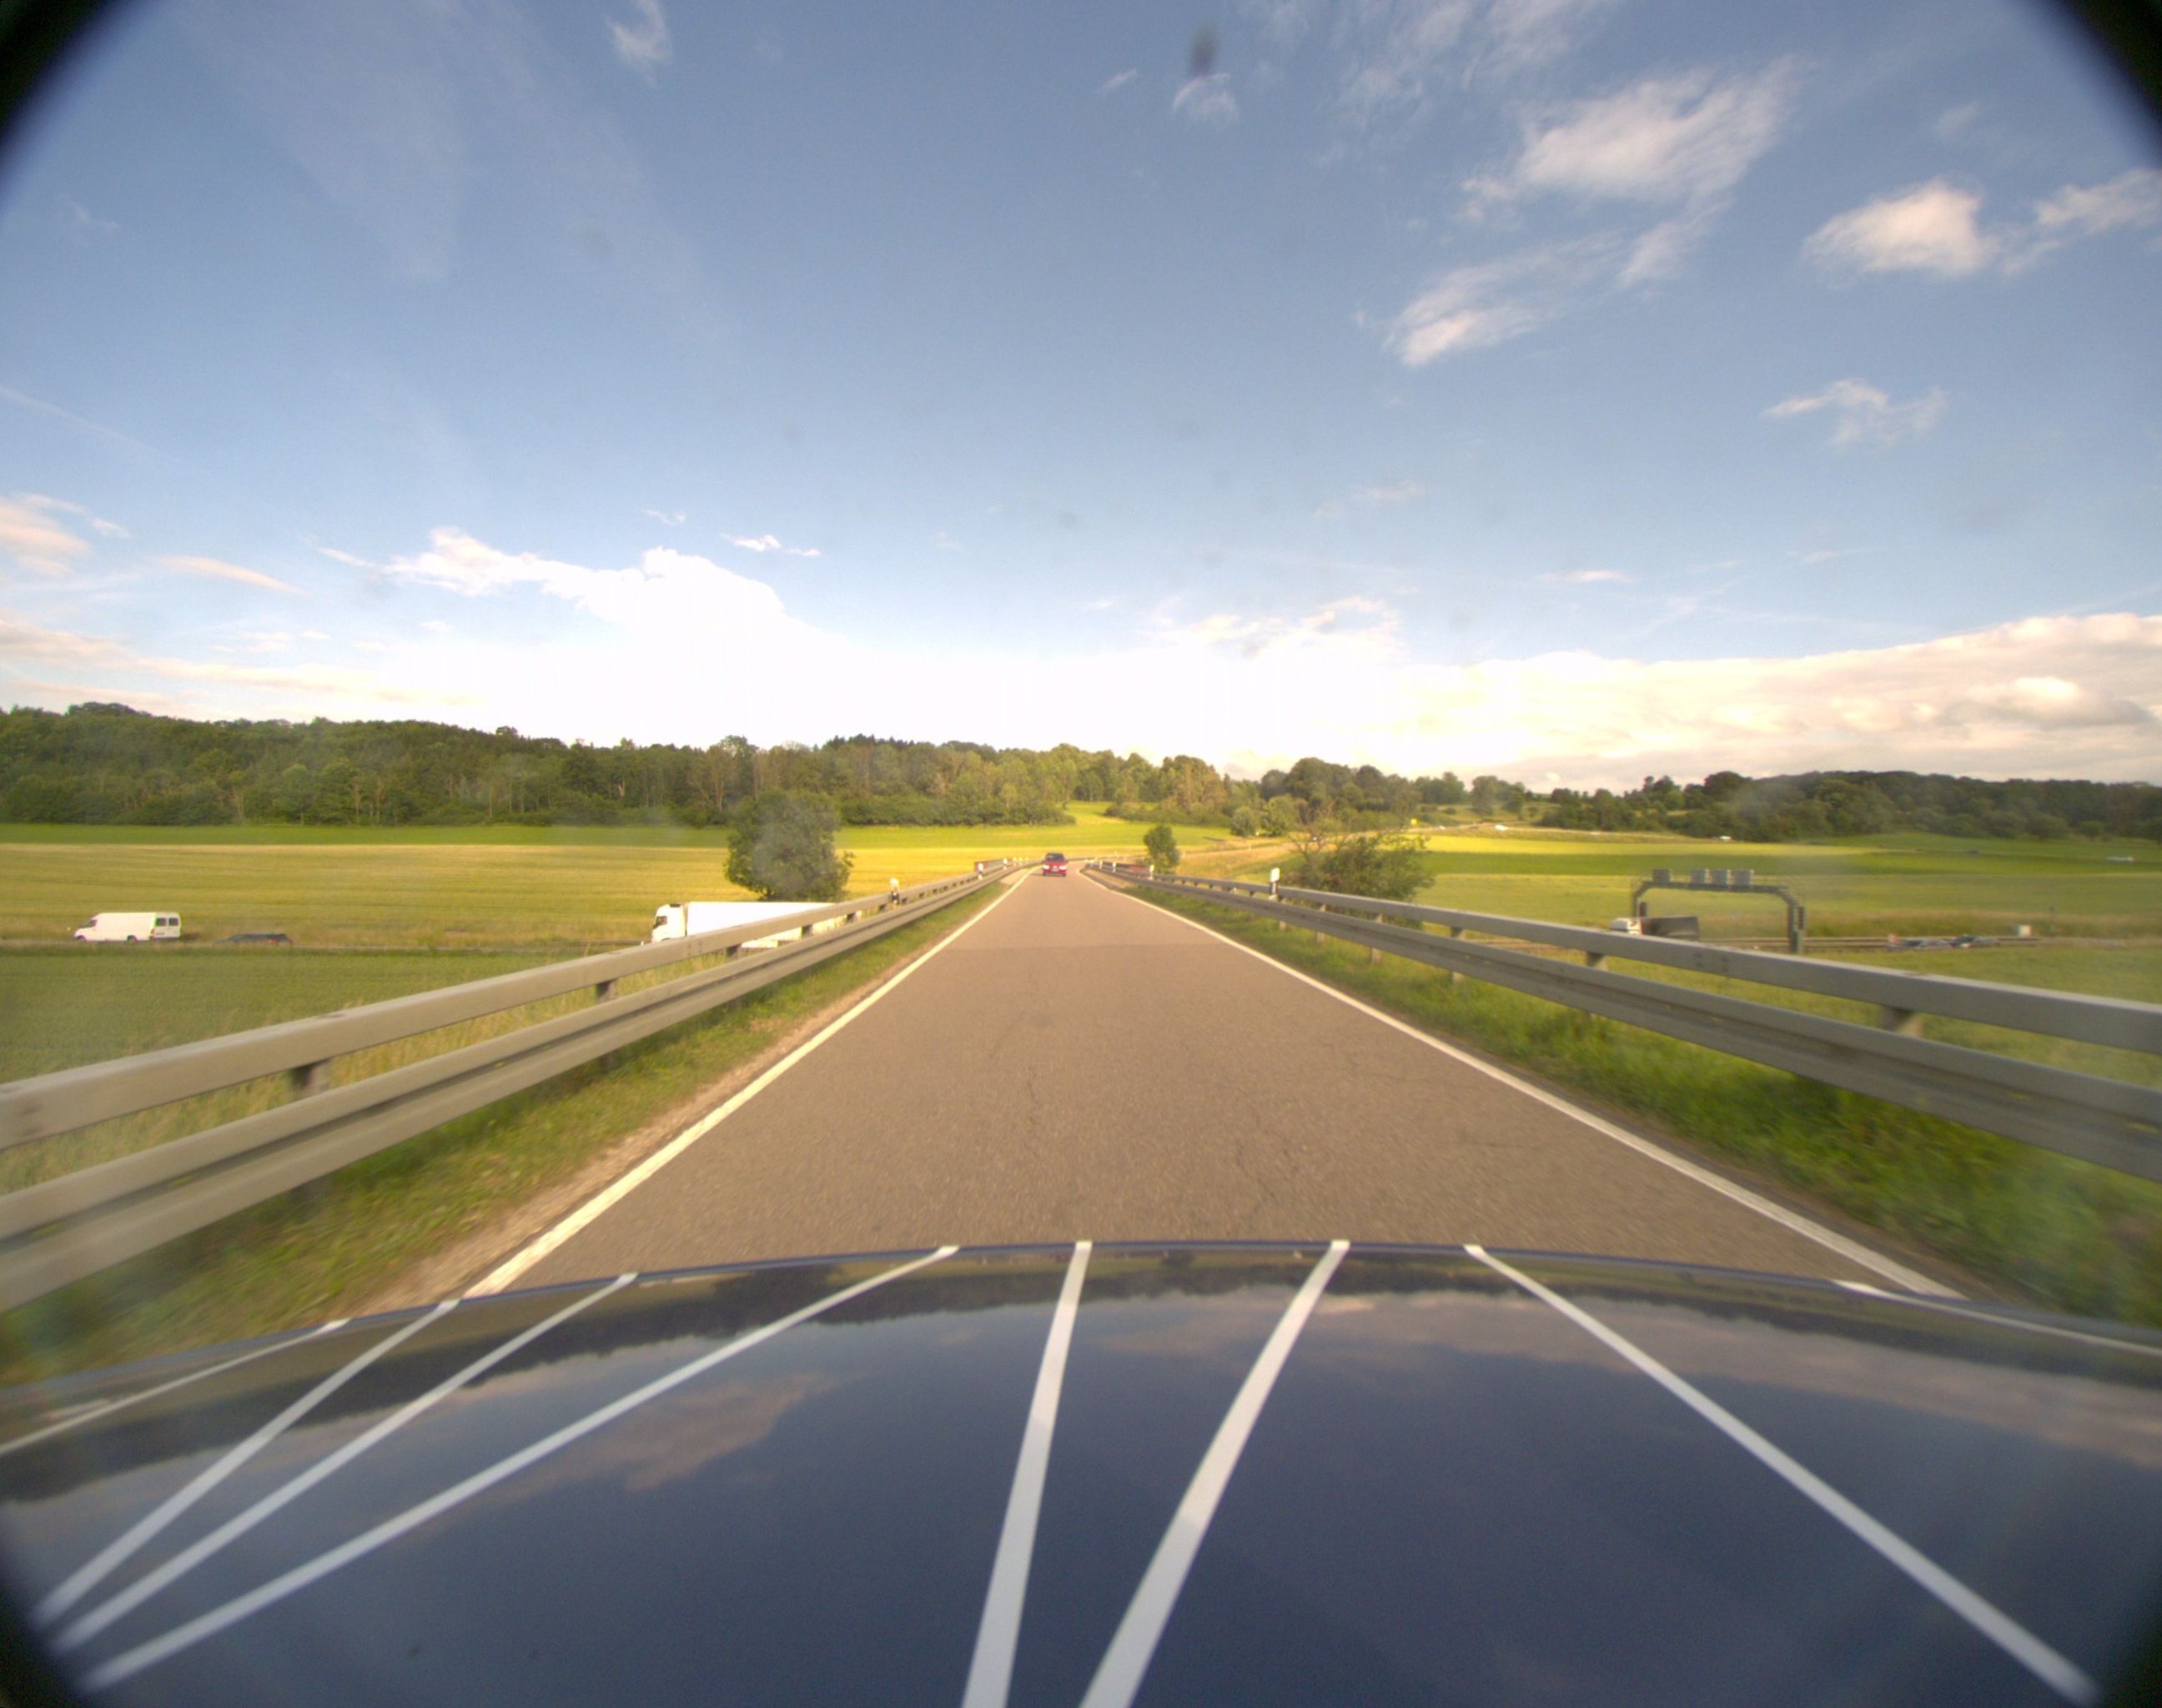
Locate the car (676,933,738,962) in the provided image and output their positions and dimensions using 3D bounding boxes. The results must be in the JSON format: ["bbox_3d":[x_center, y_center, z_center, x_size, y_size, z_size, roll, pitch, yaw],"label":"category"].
[{"bbox_3d":[-26.749,6.700,54.450,3.465,1.634,1.761,-2,4,-1],"label":"car"}]

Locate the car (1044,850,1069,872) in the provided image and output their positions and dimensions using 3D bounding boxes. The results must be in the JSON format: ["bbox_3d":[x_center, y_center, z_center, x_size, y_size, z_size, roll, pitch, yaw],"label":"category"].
[{"bbox_3d":[-1.893,0.554,58.617,1.821,1.645,3.999,0,0,-2],"label":"car"}]

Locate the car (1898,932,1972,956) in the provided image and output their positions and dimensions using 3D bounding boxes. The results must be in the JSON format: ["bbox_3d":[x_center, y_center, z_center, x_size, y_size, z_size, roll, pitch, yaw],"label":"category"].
[{"bbox_3d":[66.558,7.014,59.280,3.999,1.640,1.827,0,1,-6],"label":"car"}]

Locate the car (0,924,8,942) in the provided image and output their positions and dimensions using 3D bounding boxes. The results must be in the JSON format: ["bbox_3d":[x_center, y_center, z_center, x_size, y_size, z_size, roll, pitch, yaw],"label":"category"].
[{"bbox_3d":[-88.858,6.345,60.582,3.997,1.460,1.804,0,-2,1],"label":"car"}]

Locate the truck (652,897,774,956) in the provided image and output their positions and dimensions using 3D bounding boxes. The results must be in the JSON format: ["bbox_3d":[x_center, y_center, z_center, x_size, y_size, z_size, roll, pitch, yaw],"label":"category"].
[{"bbox_3d":[-29.010,5.673,60.116,8.050,4.440,3.031,1,-2,0],"label":"truck"}]

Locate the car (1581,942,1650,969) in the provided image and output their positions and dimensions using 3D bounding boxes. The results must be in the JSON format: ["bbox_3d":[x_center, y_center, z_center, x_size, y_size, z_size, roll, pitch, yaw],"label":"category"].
[{"bbox_3d":[40.456,7.699,57.583,3.999,1.640,1.827,3,1,-6],"label":"car"}]

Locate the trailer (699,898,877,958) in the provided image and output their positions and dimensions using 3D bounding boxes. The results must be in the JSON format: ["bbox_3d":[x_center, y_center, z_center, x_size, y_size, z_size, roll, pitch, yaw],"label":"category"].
[{"bbox_3d":[-23.007,5.799,60.138,12.717,4.440,3.033,1,-2,0],"label":"trailer"}]

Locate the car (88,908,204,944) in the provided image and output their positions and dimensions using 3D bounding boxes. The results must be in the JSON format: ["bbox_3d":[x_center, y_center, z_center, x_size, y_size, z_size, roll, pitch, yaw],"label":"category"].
[{"bbox_3d":[-73.886,5.678,60.128,6.118,2.568,2.375,1,-4,1],"label":"car"}]

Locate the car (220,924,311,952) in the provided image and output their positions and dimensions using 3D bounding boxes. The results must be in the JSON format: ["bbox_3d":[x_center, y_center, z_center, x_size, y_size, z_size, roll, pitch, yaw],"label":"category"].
[{"bbox_3d":[-57.965,5.957,54.066,4.371,1.692,1.777,1,2,-2],"label":"car"}]

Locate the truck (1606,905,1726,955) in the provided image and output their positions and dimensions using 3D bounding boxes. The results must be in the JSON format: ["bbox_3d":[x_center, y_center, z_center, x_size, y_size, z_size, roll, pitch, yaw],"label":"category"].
[{"bbox_3d":[48.580,6.310,63.169,8.493,3.386,2.122,4,1,-5],"label":"truck"}]
